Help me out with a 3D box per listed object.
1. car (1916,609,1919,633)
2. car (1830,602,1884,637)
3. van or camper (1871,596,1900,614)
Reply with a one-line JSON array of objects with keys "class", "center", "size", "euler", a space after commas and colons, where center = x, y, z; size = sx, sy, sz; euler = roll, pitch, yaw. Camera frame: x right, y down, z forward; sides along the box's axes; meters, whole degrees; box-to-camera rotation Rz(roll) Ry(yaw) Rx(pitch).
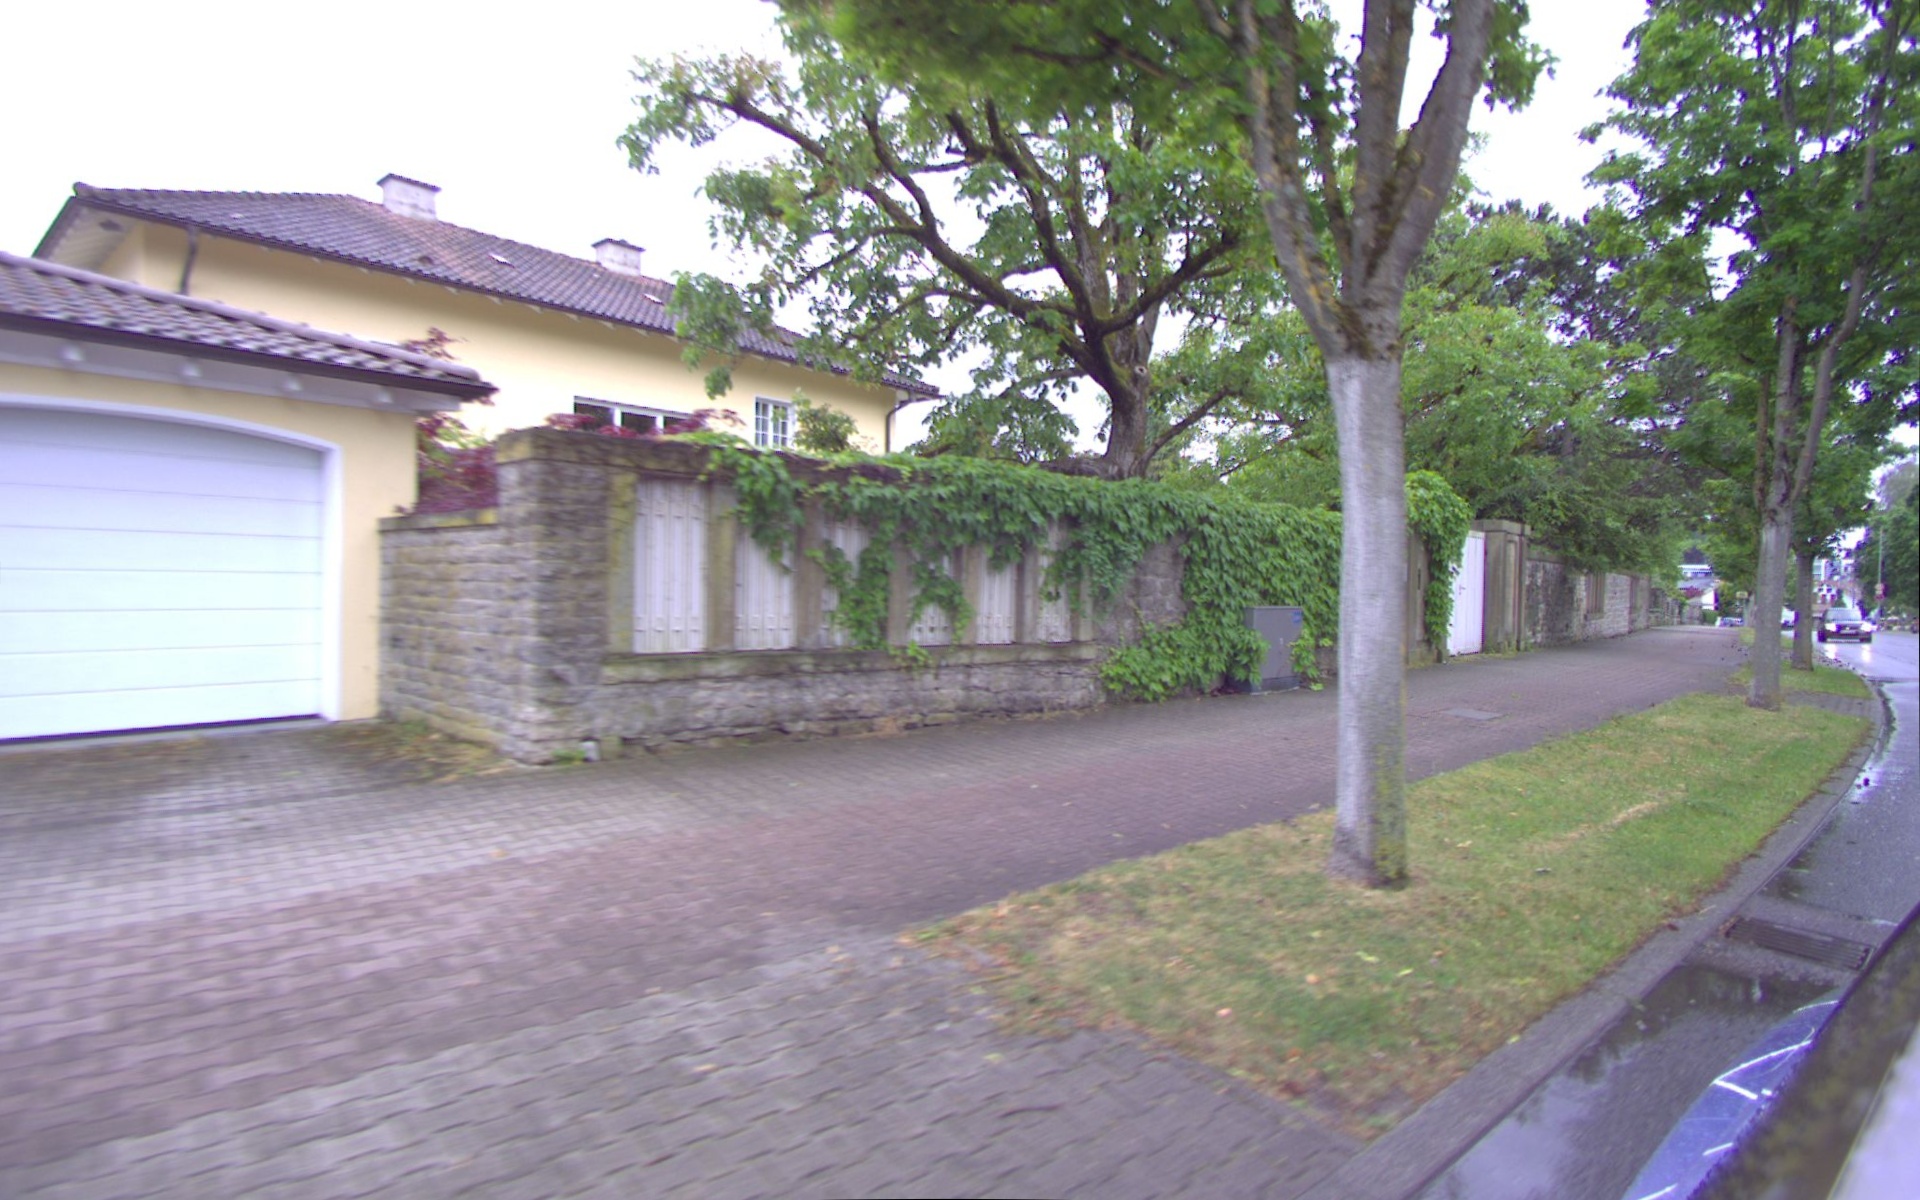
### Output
[{"class": "car", "center": [60.395, 1.324, 62.248], "size": [1.838, 1.484, 4.193], "euler": [0, -1, 37]}, {"class": "car", "center": [39.886, 0.896, 45.060], "size": [1.650, 1.471, 3.941], "euler": [-1, -2, 40]}, {"class": "van or camper", "center": [147.067, 0.768, 160.794], "size": [5.672, 2.641, 2.151], "euler": [1, 2, -36]}]
